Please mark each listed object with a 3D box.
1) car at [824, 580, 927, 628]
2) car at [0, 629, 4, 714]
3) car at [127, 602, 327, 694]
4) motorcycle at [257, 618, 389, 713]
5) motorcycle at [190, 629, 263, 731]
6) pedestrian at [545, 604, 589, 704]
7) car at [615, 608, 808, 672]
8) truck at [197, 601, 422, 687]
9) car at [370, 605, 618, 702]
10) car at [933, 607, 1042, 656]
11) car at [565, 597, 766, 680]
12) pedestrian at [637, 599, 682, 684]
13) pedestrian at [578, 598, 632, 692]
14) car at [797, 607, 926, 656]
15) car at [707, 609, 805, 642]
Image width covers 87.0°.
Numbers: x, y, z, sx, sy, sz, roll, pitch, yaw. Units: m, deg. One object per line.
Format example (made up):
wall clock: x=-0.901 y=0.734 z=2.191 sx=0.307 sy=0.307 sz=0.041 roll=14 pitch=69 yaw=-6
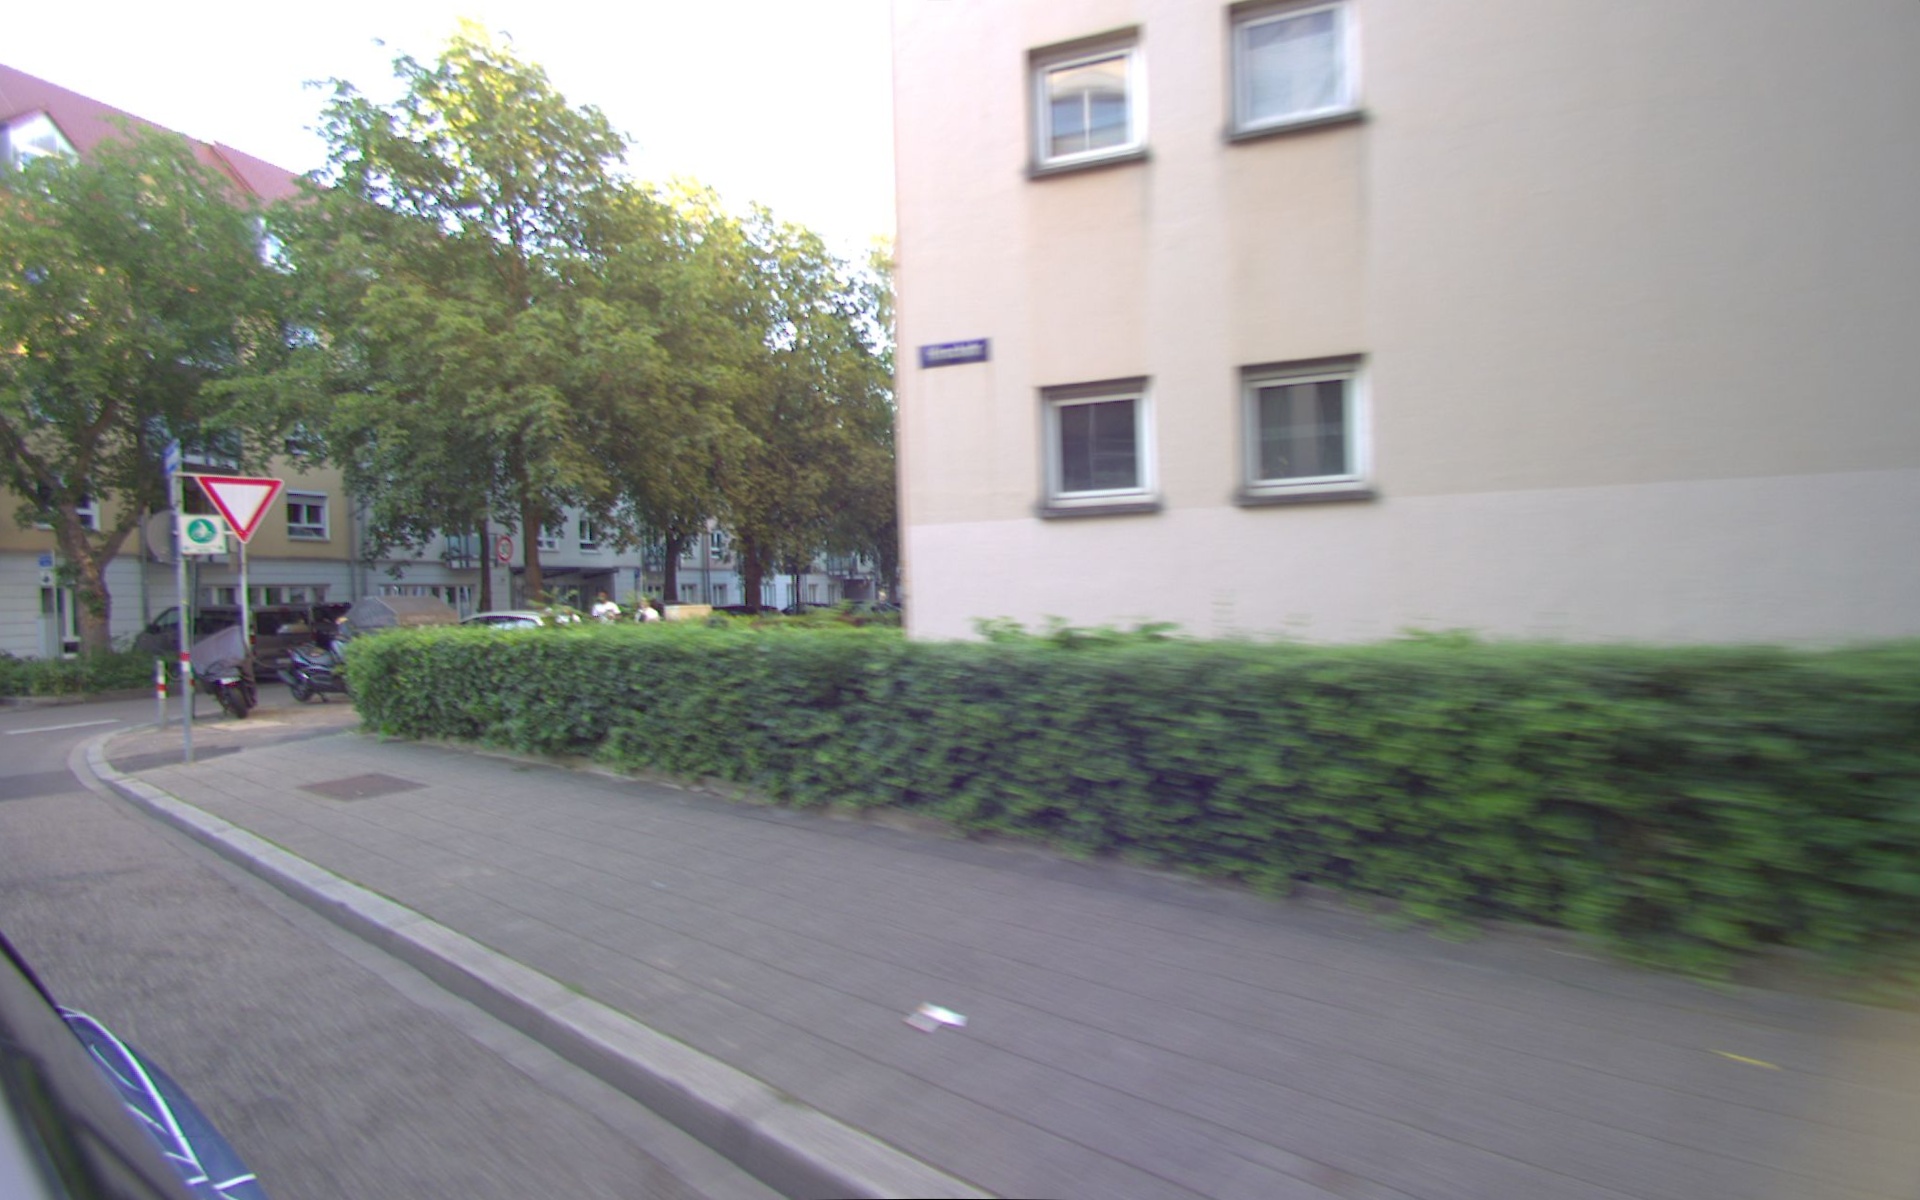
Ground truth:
car: x=-3.166 y=0.153 z=37.964 sx=3.387 sy=1.621 sz=1.751 roll=-3 pitch=-1 yaw=18
car: x=-21.835 y=1.569 z=20.288 sx=4.772 sy=1.717 sz=1.825 roll=-3 pitch=-1 yaw=18
car: x=-19.156 y=1.173 z=26.470 sx=4.600 sy=2.149 sz=2.023 roll=1 pitch=1 yaw=20
motorcycle: x=-10.784 y=1.105 z=17.113 sx=2.209 sy=1.505 sz=0.686 roll=-3 pitch=-1 yaw=22
motorcycle: x=-11.066 y=1.165 z=15.230 sx=0.712 sy=1.384 sz=2.228 roll=-2 pitch=-1 yaw=-40
pedestrian: x=-7.357 y=0.995 z=18.973 sx=0.687 sy=1.801 sz=0.531 roll=-2 pitch=-1 yaw=-21
car: x=-6.722 y=1.077 z=27.463 sx=4.692 sy=1.435 sz=2.060 roll=-4 pitch=-1 yaw=18
truck: x=-18.558 y=1.159 z=28.873 sx=5.978 sy=2.149 sz=2.246 roll=1 pitch=1 yaw=20
car: x=-9.601 y=1.101 z=20.910 sx=4.480 sy=1.593 sz=2.041 roll=-5 pitch=-1 yaw=21
car: x=1.224 y=1.381 z=44.788 sx=4.398 sy=1.906 sz=1.987 roll=-4 pitch=-1 yaw=19
car: x=-7.347 y=0.957 z=25.339 sx=4.374 sy=1.697 sz=2.052 roll=-5 pitch=-1 yaw=18
pedestrian: x=-5.741 y=0.795 z=19.328 sx=0.657 sy=1.583 sz=0.445 roll=-2 pitch=0 yaw=24
pedestrian: x=-7.011 y=0.876 z=19.997 sx=0.694 sy=1.801 sz=0.660 roll=-3 pitch=-1 yaw=24
car: x=-3.414 y=1.080 z=35.256 sx=4.079 sy=1.390 sz=1.737 roll=-4 pitch=-1 yaw=18
car: x=-10.209 y=1.269 z=50.700 sx=4.551 sy=1.563 sz=1.761 roll=0 pitch=0 yaw=19
